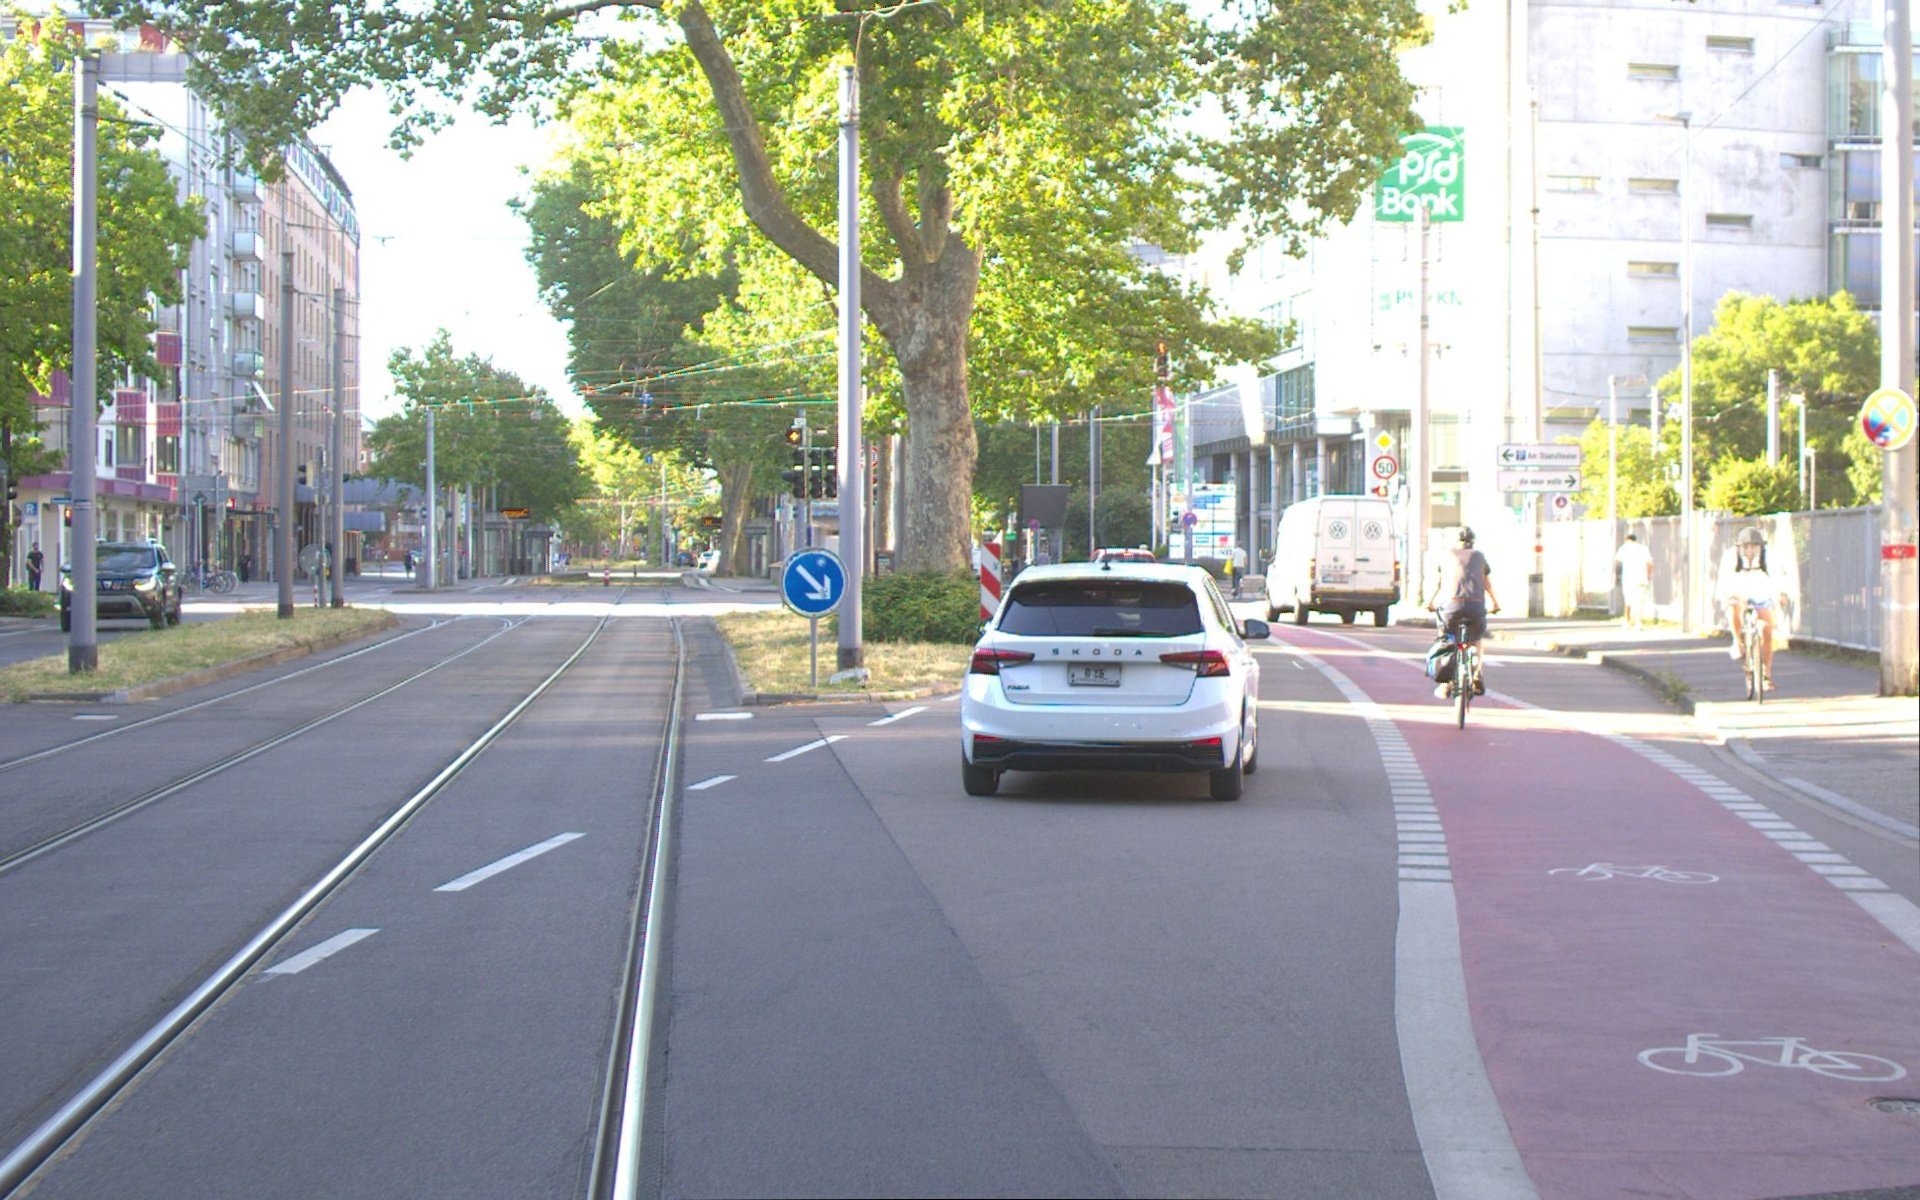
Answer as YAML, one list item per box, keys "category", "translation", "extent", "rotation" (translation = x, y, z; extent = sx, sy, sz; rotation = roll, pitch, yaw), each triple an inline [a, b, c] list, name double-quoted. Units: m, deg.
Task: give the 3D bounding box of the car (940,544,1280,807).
- category: "car"
  translation: [1.055, 0.413, 22.113]
  extent: [1.802, 1.496, 3.980]
  rotation: [1, 1, 8]

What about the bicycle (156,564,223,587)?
- category: "bicycle"
  translation: [-26.207, -0.835, 116.959]
  extent: [2.169, 0.784, 0.641]
  rotation: [0, 1, -8]

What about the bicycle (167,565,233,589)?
- category: "bicycle"
  translation: [-26.017, -0.792, 117.738]
  extent: [2.169, 0.784, 0.492]
  rotation: [0, 1, -8]

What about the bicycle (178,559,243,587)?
- category: "bicycle"
  translation: [-26.089, -0.948, 119.737]
  extent: [2.169, 0.947, 0.492]
  rotation: [0, 1, -8]

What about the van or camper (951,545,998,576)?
- category: "van or camper"
  translation: [0.824, -2.316, 198.830]
  extent: [2.145, 1.744, 4.433]
  rotation: [-1, 1, -7]

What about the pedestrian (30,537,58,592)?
- category: "pedestrian"
  translation: [-28.137, -1.100, 105.614]
  extent: [0.708, 1.657, 1.034]
  rotation: [-1, 1, -9]

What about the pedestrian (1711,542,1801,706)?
- category: "pedestrian"
  translation: [8.048, 0.230, 34.797]
  extent: [0.669, 1.613, 1.102]
  rotation: [-2, 1, 4]

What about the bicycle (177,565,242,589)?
- category: "bicycle"
  translation: [-25.991, -0.783, 119.101]
  extent: [2.169, 0.821, 0.528]
  rotation: [0, 1, -8]

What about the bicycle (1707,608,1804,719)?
- category: "bicycle"
  translation: [8.010, 0.623, 34.684]
  extent: [0.675, 1.028, 1.900]
  rotation: [-2, 1, 5]

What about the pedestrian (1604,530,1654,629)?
- category: "pedestrian"
  translation: [11.883, -0.366, 61.079]
  extent: [0.786, 1.742, 0.772]
  rotation: [0, 1, 6]

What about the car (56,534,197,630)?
- category: "car"
  translation: [-15.105, -0.355, 62.496]
  extent: [1.993, 1.683, 4.311]
  rotation: [0, 1, -7]

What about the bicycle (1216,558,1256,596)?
- category: "bicycle"
  translation: [8.649, -0.727, 107.877]
  extent: [0.792, 1.157, 2.500]
  rotation: [0, 1, -6]

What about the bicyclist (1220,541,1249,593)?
- category: "bicyclist"
  translation: [8.639, -1.051, 108.035]
  extent: [0.785, 1.629, 0.639]
  rotation: [0, 1, -7]

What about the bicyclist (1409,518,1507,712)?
- category: "bicyclist"
  translation: [4.388, 0.122, 30.338]
  extent: [0.743, 1.663, 0.745]
  rotation: [2, 1, 4]

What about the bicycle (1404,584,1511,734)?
- category: "bicycle"
  translation: [4.381, 0.498, 30.404]
  extent: [0.744, 1.220, 2.156]
  rotation: [2, 1, 4]

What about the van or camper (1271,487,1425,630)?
- category: "van or camper"
  translation: [7.985, -0.867, 71.329]
  extent: [2.269, 2.724, 6.347]
  rotation: [3, 1, -1]

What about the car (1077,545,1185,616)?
- category: "car"
  translation: [3.620, -0.435, 73.397]
  extent: [1.839, 1.484, 3.717]
  rotation: [0, 1, -4]
